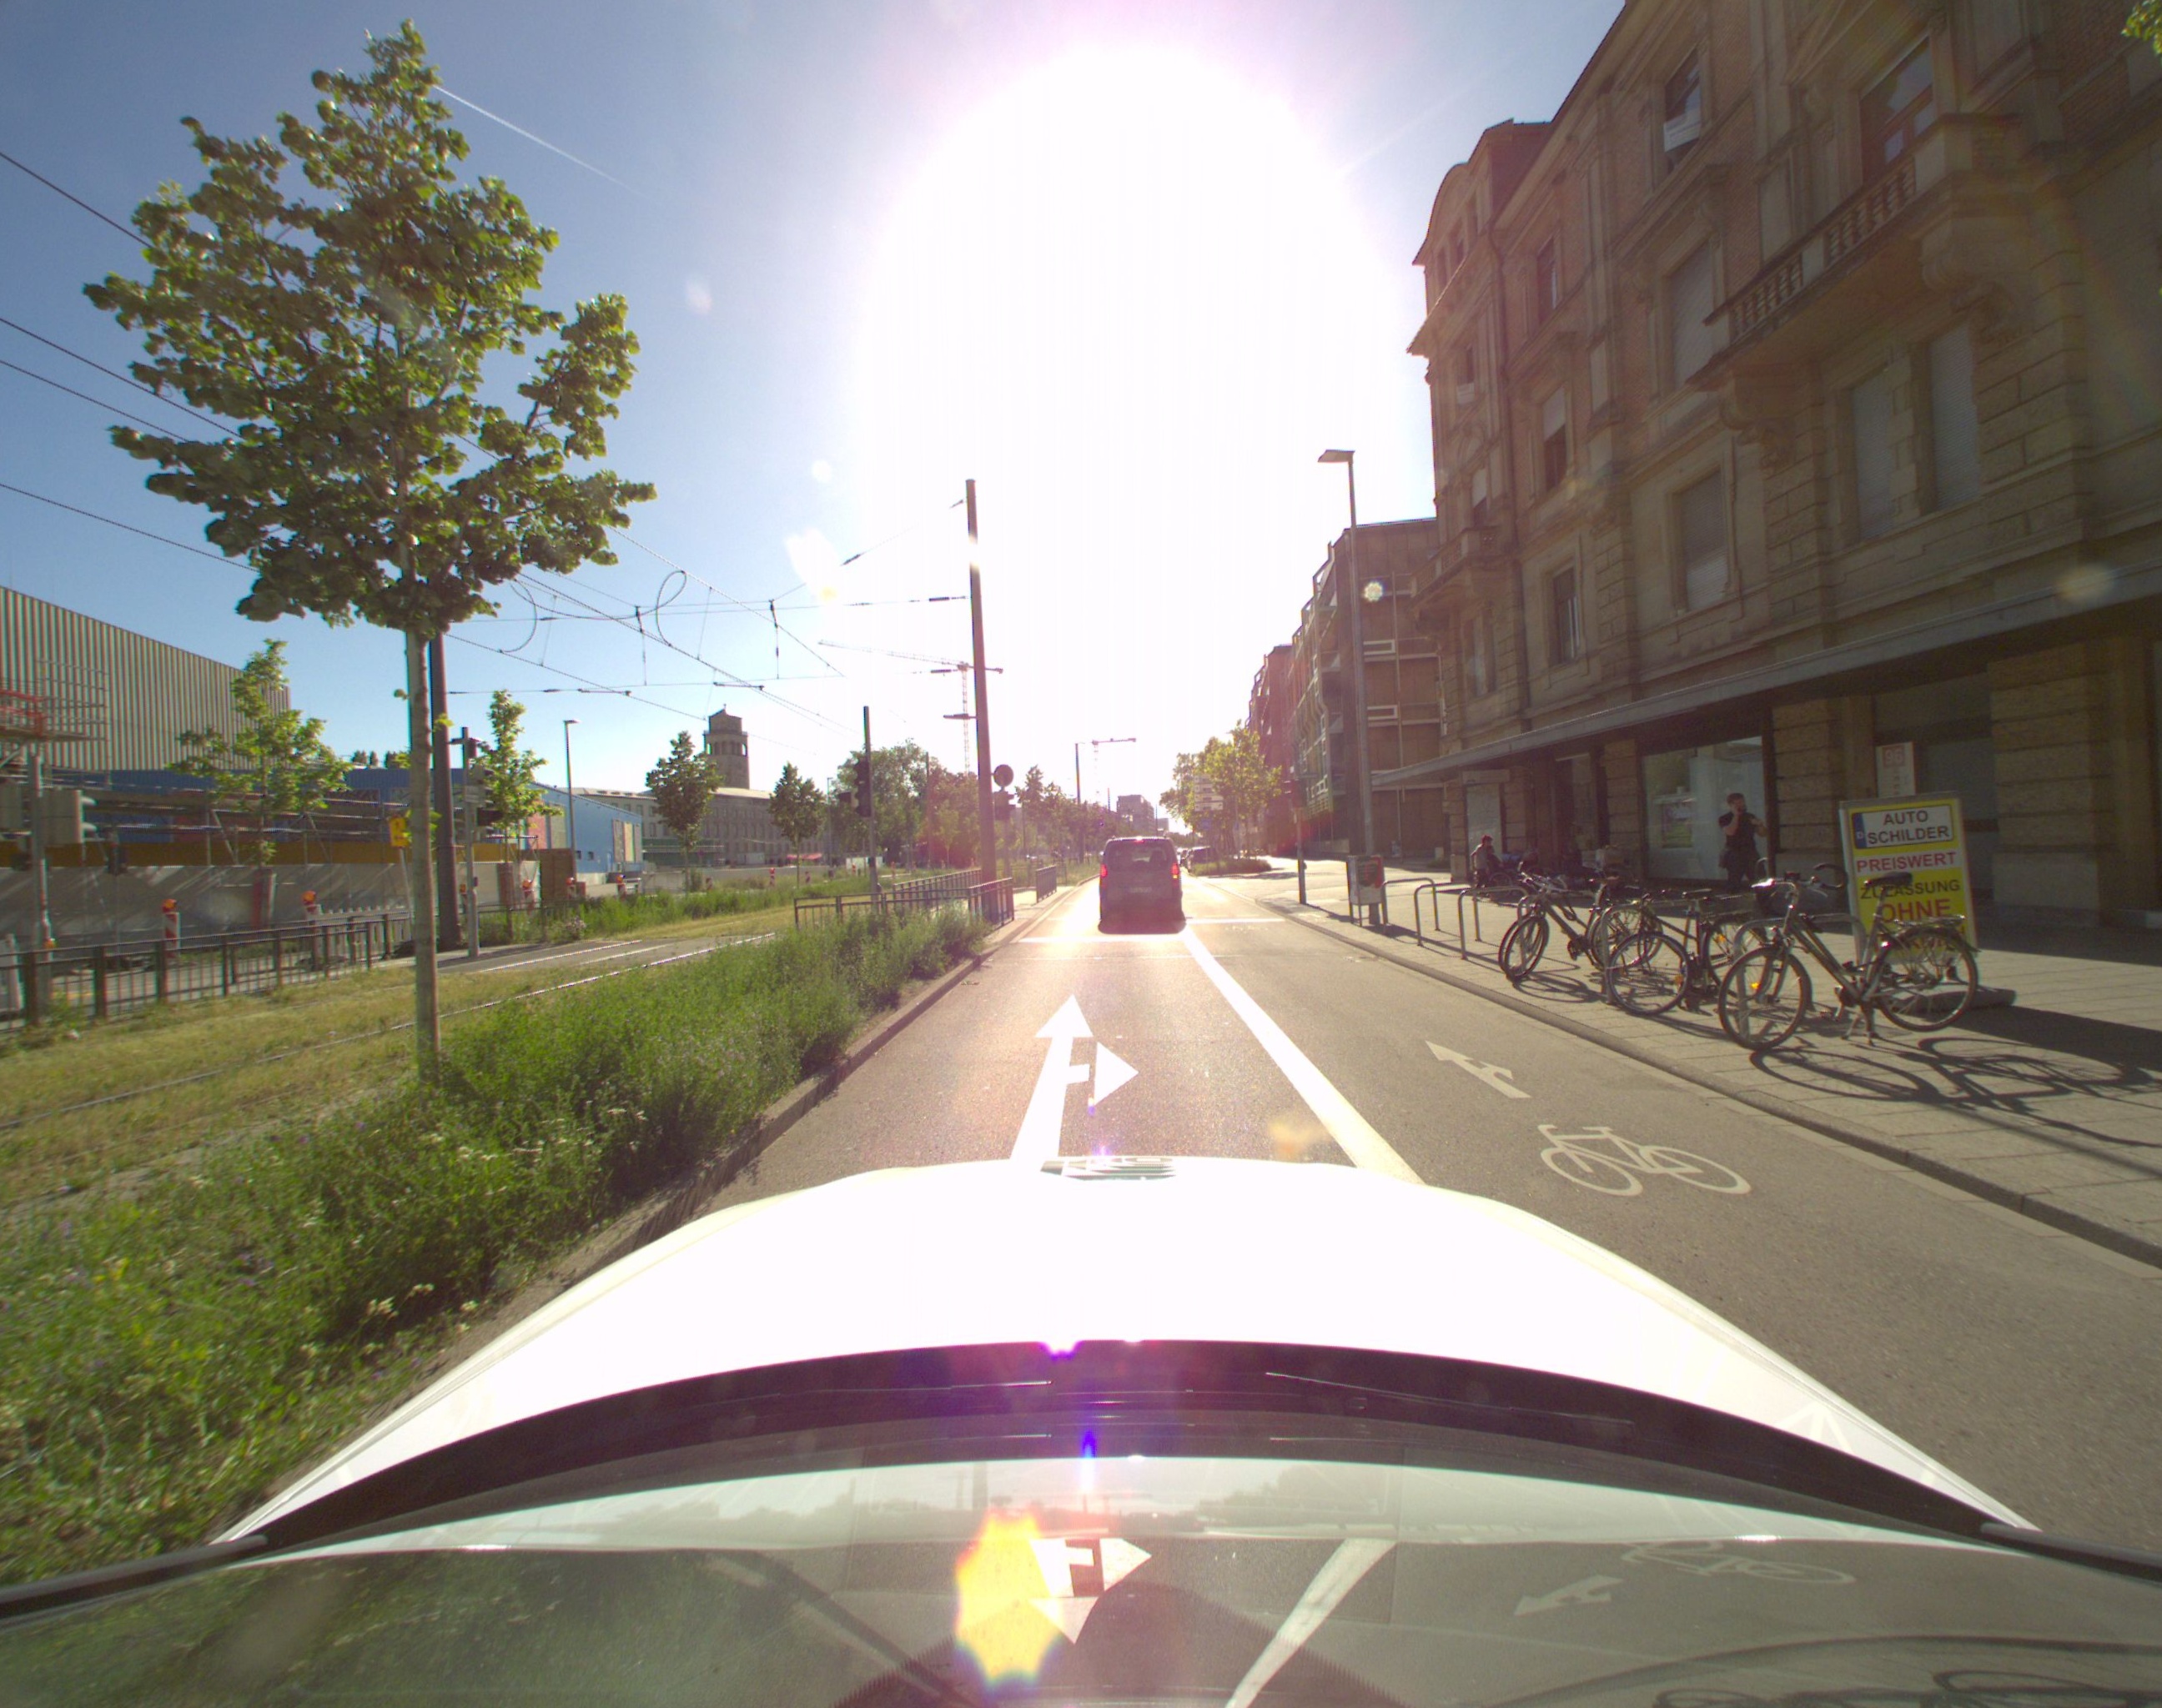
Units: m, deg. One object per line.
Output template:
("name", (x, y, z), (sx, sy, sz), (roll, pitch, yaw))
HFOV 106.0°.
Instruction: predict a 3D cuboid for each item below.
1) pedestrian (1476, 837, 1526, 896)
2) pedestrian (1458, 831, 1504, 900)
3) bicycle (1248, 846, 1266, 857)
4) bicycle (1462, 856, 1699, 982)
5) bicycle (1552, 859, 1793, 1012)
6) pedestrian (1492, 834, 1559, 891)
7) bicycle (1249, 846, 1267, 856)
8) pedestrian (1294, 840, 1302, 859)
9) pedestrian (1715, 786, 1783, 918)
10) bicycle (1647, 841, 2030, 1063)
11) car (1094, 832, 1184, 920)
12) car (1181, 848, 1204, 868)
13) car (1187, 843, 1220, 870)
("pedestrian", (9.194, 0.266, 17.845), (0.713, 1.218, 0.648), (-5, -1, 7))
("pedestrian", (8.544, 0.243, 17.422), (0.571, 1.394, 0.648), (-5, -1, 0))
("bicycle", (19.666, -0.277, 90.962), (1.846, 1.011, 0.428), (-5, -1, 11))
("bicycle", (5.214, 0.663, 8.577), (2.042, 1.120, 0.603), (-4, -1, 1))
("bicycle", (5.106, 0.674, 7.071), (1.661, 1.110, 0.601), (-5, -1, -7))
("pedestrian", (10.341, 0.198, 18.972), (1.068, 1.218, 0.703), (-5, -1, 1))
("bicycle", (19.503, -0.297, 89.796), (1.846, 0.939, 0.428), (-5, -1, 11))
("pedestrian", (18.664, -0.366, 70.037), (0.508, 1.622, 0.676), (-5, 0, 9))
("pedestrian", (9.447, -0.028, 11.527), (0.508, 1.801, 0.502), (-2, 0, 9))
("bicycle", (5.072, 0.624, 5.540), (1.858, 1.251, 0.692), (-5, -1, 0))
("car", (1.442, 0.461, 19.063), (1.802, 1.752, 4.175), (-3, 0, 6))
("car", (9.050, 0.278, 66.334), (1.610, 1.465, 4.161), (-4, 0, 5))
("car", (8.113, 0.168, 54.197), (1.740, 1.659, 4.474), (-3, 0, 4))
